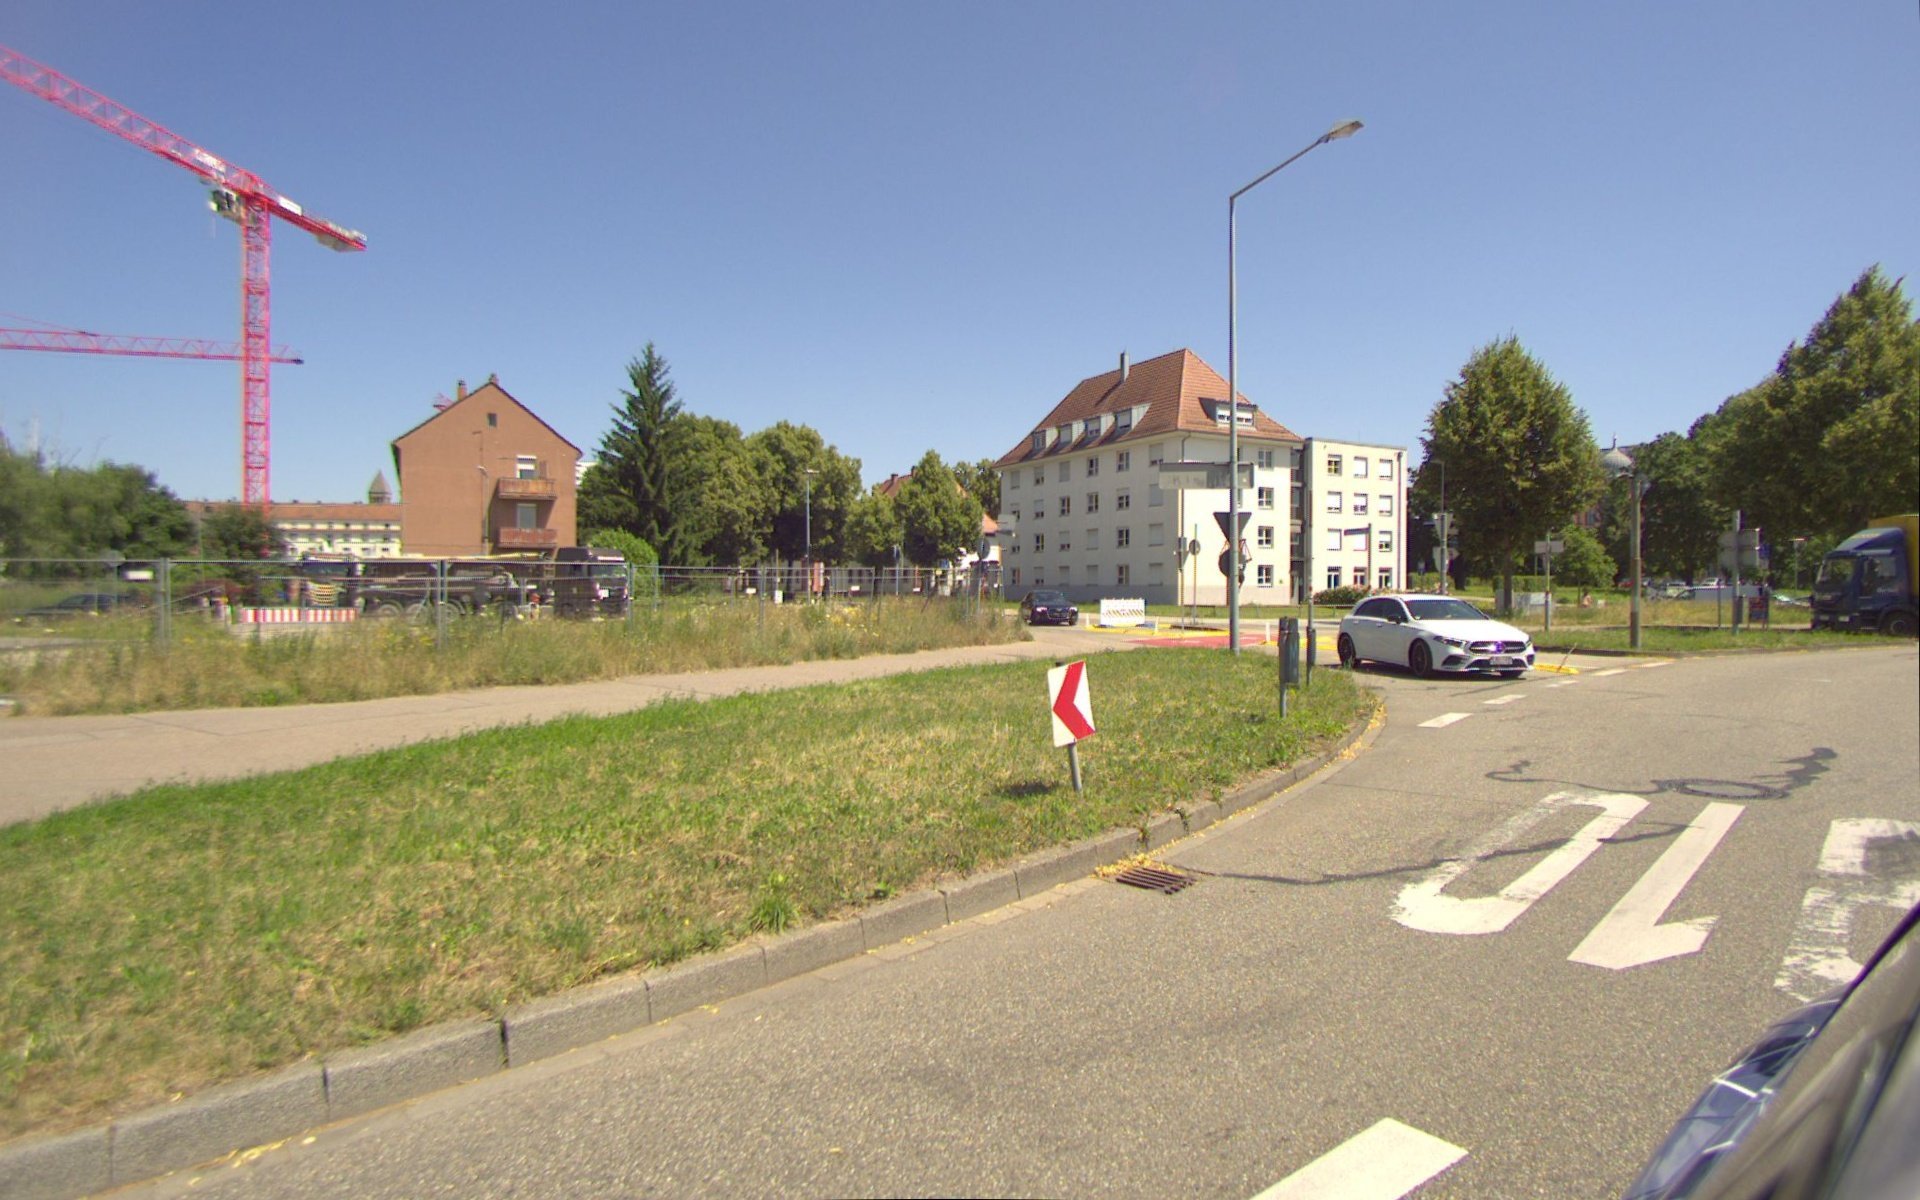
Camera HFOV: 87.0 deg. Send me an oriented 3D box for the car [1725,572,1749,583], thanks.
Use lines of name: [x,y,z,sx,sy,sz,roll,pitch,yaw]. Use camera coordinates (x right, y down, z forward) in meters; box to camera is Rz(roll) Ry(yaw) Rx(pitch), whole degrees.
car: [96.874,-2.794,126.209,2.968,1.434,1.480,-1,1,-32]

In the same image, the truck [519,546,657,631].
truck: [-16.415,-0.517,44.779,4.905,3.577,3.143,0,1,21]

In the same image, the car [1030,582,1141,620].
car: [5.327,0.024,43.462,1.773,1.469,4.605,-3,2,-45]

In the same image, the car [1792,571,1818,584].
car: [100.179,-2.680,119.959,2.968,1.434,1.480,-1,1,-32]

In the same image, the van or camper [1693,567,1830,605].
van or camper: [41.662,-0.726,52.794,1.959,1.880,5.280,-1,1,-28]

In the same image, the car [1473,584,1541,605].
car: [33.154,-0.356,61.390,1.329,1.232,3.519,-1,1,-27]

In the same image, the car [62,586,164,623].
car: [-38.472,0.184,46.024,3.348,1.634,1.372,0,1,-8]

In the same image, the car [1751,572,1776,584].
car: [98.150,-2.735,123.565,2.968,1.434,1.480,-1,1,-32]

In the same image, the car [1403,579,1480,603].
car: [27.837,-0.539,58.596,1.626,1.343,3.814,-1,1,-27]

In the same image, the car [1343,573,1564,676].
car: [8.601,0.338,18.061,1.746,1.564,3.967,-2,2,-4]

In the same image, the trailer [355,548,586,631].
trailer: [-21.821,-0.483,45.505,8.816,3.577,3.167,0,1,-3]

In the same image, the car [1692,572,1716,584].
car: [94.516,-2.814,128.514,2.968,1.434,1.480,-1,1,-32]

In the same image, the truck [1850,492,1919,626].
truck: [31.048,-1.153,27.865,9.483,3.705,2.693,0,1,17]
